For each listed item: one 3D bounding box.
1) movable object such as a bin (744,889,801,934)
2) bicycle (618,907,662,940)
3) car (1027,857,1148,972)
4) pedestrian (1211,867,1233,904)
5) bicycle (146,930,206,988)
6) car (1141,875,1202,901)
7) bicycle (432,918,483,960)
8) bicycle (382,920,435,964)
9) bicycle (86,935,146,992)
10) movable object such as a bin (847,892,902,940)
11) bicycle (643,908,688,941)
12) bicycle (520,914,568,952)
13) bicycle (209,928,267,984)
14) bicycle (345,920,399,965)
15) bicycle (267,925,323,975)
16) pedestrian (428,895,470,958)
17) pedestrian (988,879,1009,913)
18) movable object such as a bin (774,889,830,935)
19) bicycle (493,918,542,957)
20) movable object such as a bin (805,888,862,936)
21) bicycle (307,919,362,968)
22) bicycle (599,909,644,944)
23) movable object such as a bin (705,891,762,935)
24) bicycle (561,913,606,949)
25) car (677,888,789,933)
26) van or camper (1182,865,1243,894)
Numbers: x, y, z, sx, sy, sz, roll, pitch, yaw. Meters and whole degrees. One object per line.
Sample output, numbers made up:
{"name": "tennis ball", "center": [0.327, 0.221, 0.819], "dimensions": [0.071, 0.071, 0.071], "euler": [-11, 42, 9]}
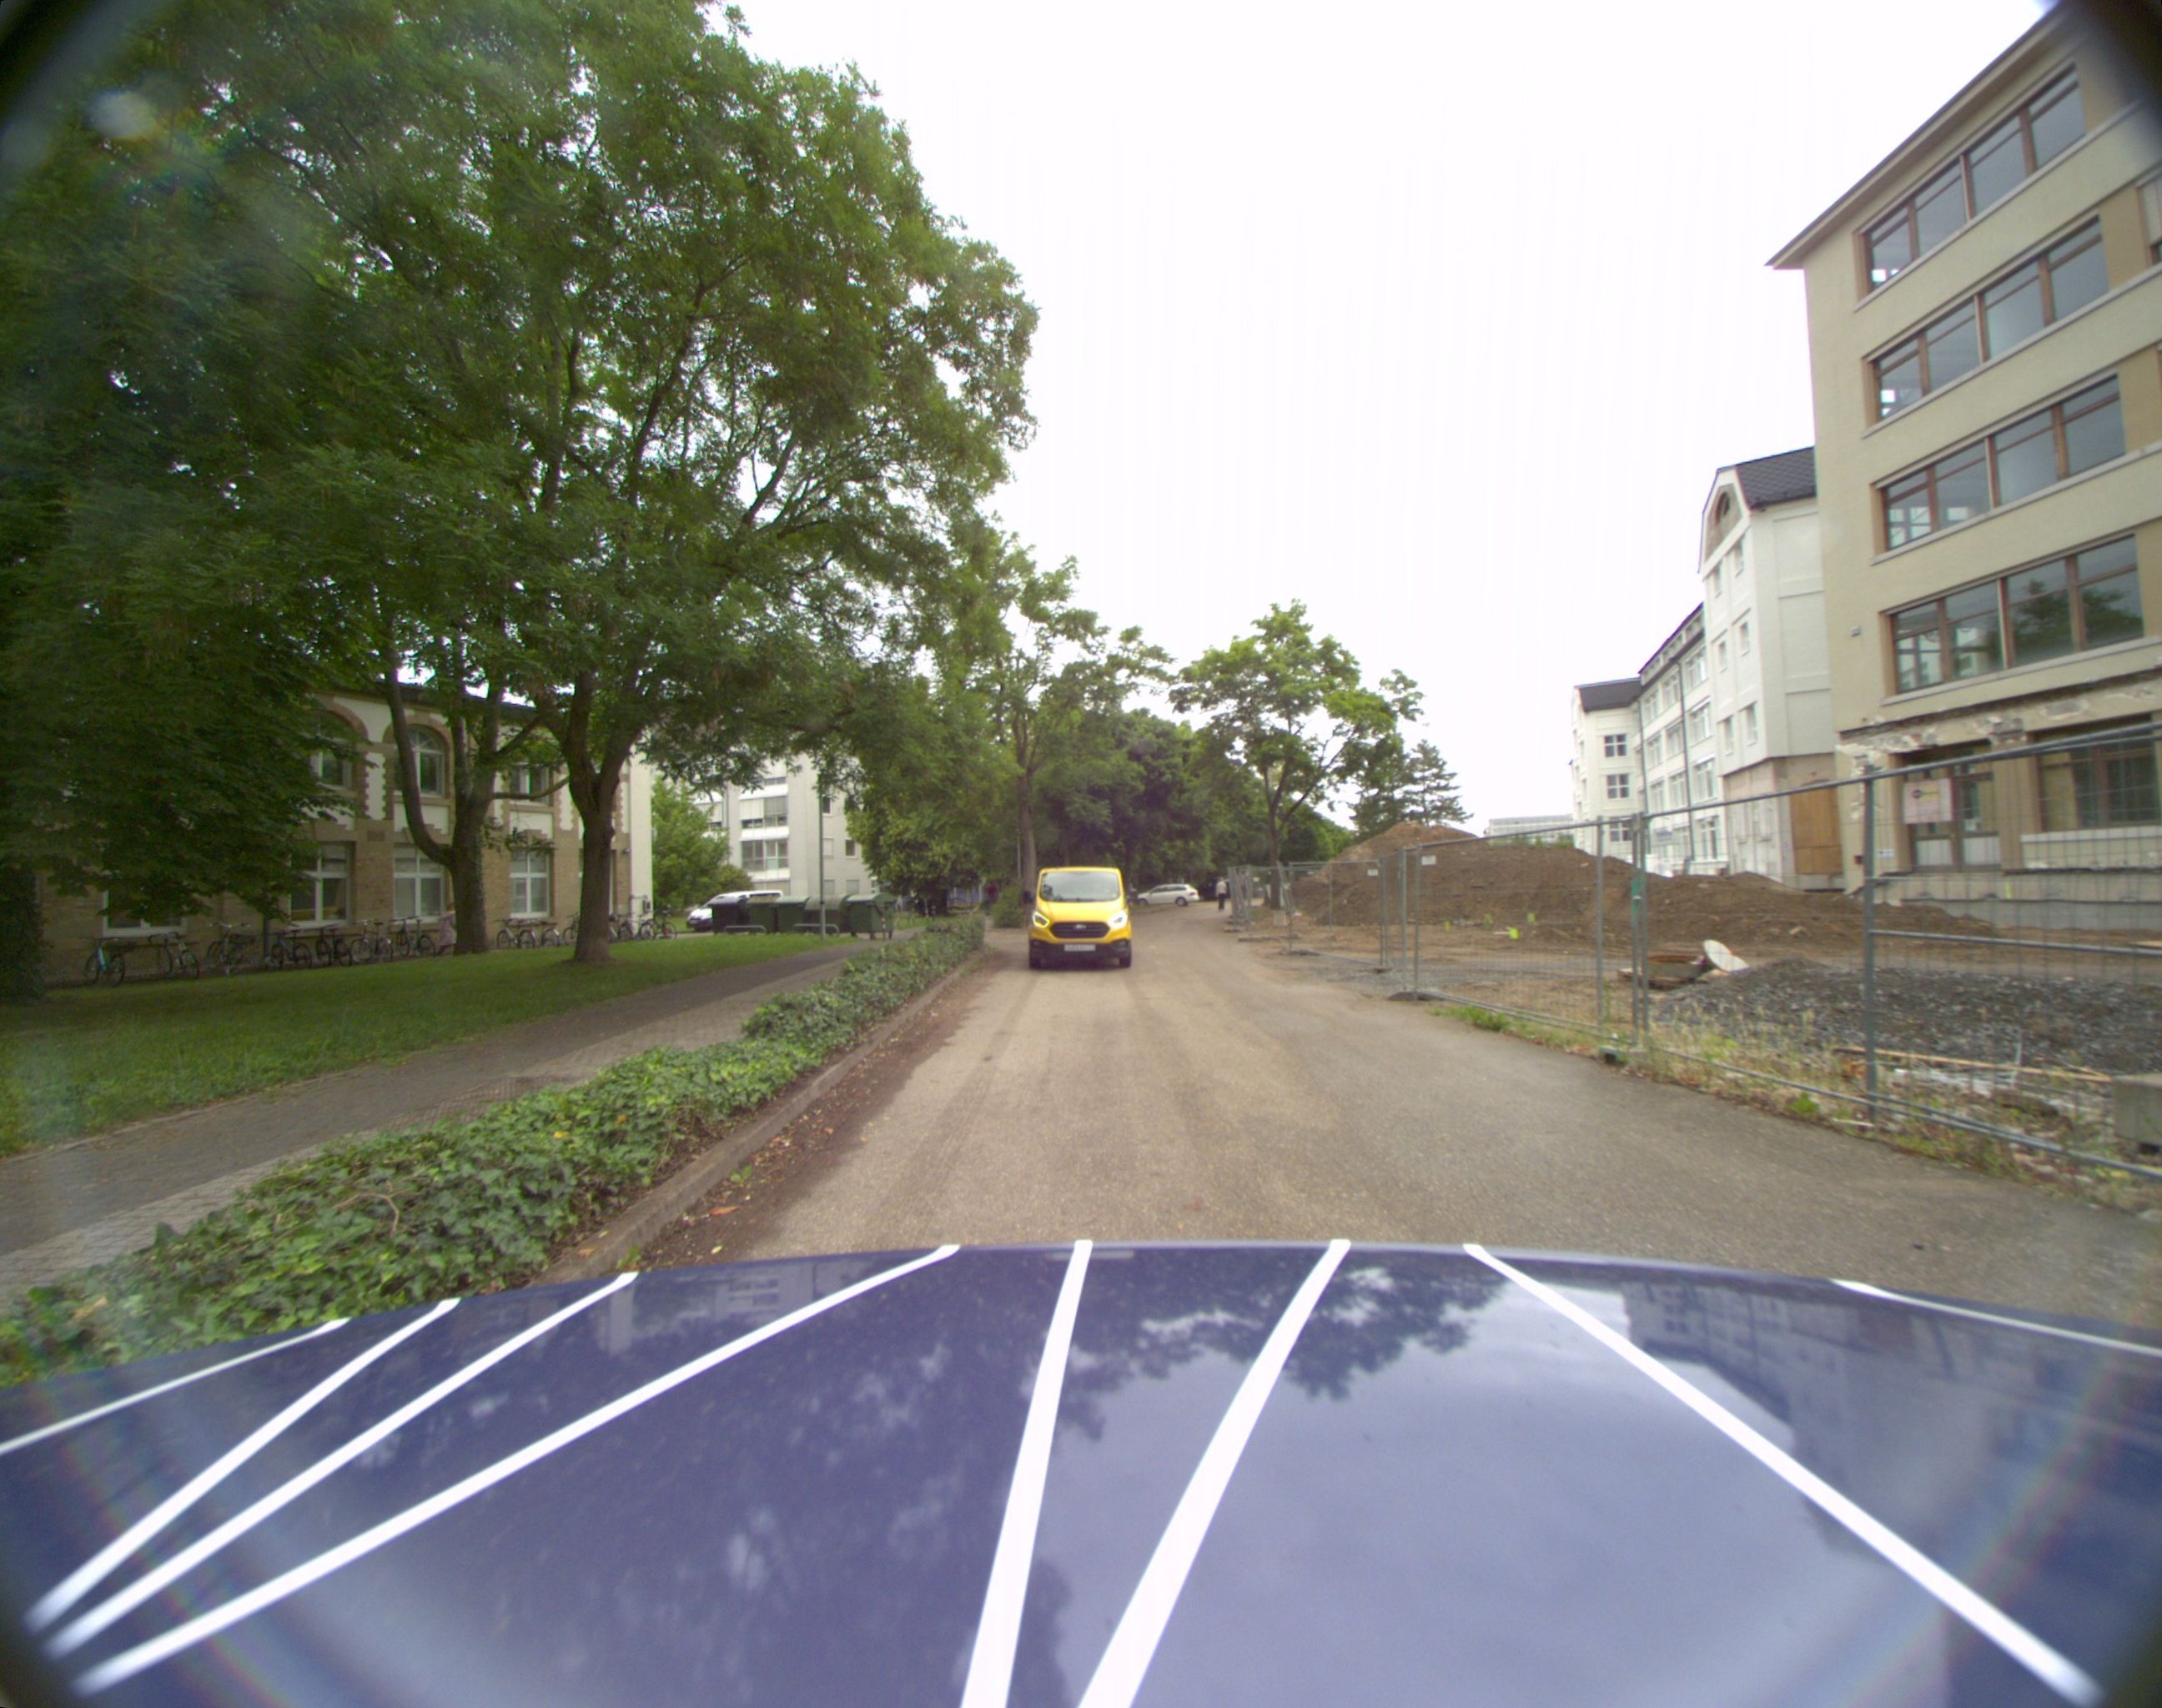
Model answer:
{"name": "movable object such as a bin", "center": [-10.409, 1.941, 25.685], "dimensions": [1.324, 1.441, 1.110], "euler": [-3, -1, 17]}
{"name": "bicycle", "center": [-15.208, 2.396, 26.189], "dimensions": [1.740, 1.108, 0.461], "euler": [-3, -2, 28]}
{"name": "car", "center": [0.073, 1.159, 15.699], "dimensions": [2.124, 2.001, 4.001], "euler": [-2, -2, -2]}
{"name": "pedestrian", "center": [6.926, 1.525, 37.272], "dimensions": [0.752, 1.770, 0.662], "euler": [-2, -2, -25]}
{"name": "bicycle", "center": [-19.590, 2.243, 16.443], "dimensions": [1.740, 1.108, 0.461], "euler": [-1, -1, 28]}
{"name": "car", "center": [6.131, 2.268, 51.364], "dimensions": [3.879, 1.565, 1.754], "euler": [-3, -2, 14]}
{"name": "bicycle", "center": [-17.466, 2.363, 21.275], "dimensions": [1.740, 1.108, 0.461], "euler": [-2, -2, 28]}
{"name": "bicycle", "center": [-17.949, 2.329, 20.259], "dimensions": [1.740, 1.108, 0.461], "euler": [-3, -2, 28]}
{"name": "bicycle", "center": [-20.003, 2.245, 15.739], "dimensions": [1.740, 1.108, 0.461], "euler": [-3, -2, 28]}
{"name": "movable object such as a bin", "center": [-6.478, 1.917, 23.808], "dimensions": [1.272, 1.425, 1.074], "euler": [-3, -2, 35]}
{"name": "bicycle", "center": [-14.769, 2.501, 26.982], "dimensions": [1.740, 1.108, 0.461], "euler": [-3, -2, 27]}
{"name": "bicycle", "center": [-16.520, 2.421, 23.356], "dimensions": [1.740, 1.108, 0.461], "euler": [-3, -2, 28]}
{"name": "bicycle", "center": [-19.155, 2.301, 17.252], "dimensions": [1.740, 1.108, 0.461], "euler": [0, 0, 28]}
{"name": "bicycle", "center": [-18.281, 2.265, 19.592], "dimensions": [1.740, 1.108, 0.461], "euler": [-3, -2, 28]}
{"name": "bicycle", "center": [-18.890, 2.285, 18.256], "dimensions": [1.740, 1.108, 0.461], "euler": [-1, -1, 28]}
{"name": "pedestrian", "center": [-16.575, 1.894, 19.931], "dimensions": [0.603, 1.577, 0.629], "euler": [-3, -2, 27]}
{"name": "pedestrian", "center": [-5.208, 2.638, 47.989], "dimensions": [0.793, 2.051, 1.203], "euler": [-2, -2, 22]}
{"name": "movable object such as a bin", "center": [-9.195, 1.908, 25.090], "dimensions": [1.292, 1.441, 1.110], "euler": [-3, -1, 17]}
{"name": "bicycle", "center": [-16.848, 2.478, 22.716], "dimensions": [1.740, 1.108, 0.461], "euler": [-3, -2, 28]}
{"name": "movable object such as a bin", "center": [-7.893, 1.850, 24.255], "dimensions": [1.283, 1.441, 1.111], "euler": [-3, -2, 26]}
{"name": "bicycle", "center": [-18.579, 2.206, 18.902], "dimensions": [1.740, 1.108, 0.461], "euler": [0, 0, 28]}
{"name": "bicycle", "center": [-15.506, 2.437, 25.620], "dimensions": [1.740, 1.108, 0.461], "euler": [-3, -2, 28]}
{"name": "movable object such as a bin", "center": [-11.971, 2.025, 26.220], "dimensions": [1.360, 1.441, 1.111], "euler": [-3, -1, 20]}
{"name": "bicycle", "center": [-16.013, 2.468, 24.437], "dimensions": [1.740, 1.108, 0.461], "euler": [-3, -2, 30]}
{"name": "car", "center": [-16.950, 2.706, 37.284], "dimensions": [1.897, 1.861, 4.783], "euler": [-5, -3, 27]}
{"name": "van or camper", "center": [10.944, 2.129, 63.238], "dimensions": [4.490, 2.244, 2.004], "euler": [-3, -2, 26]}
